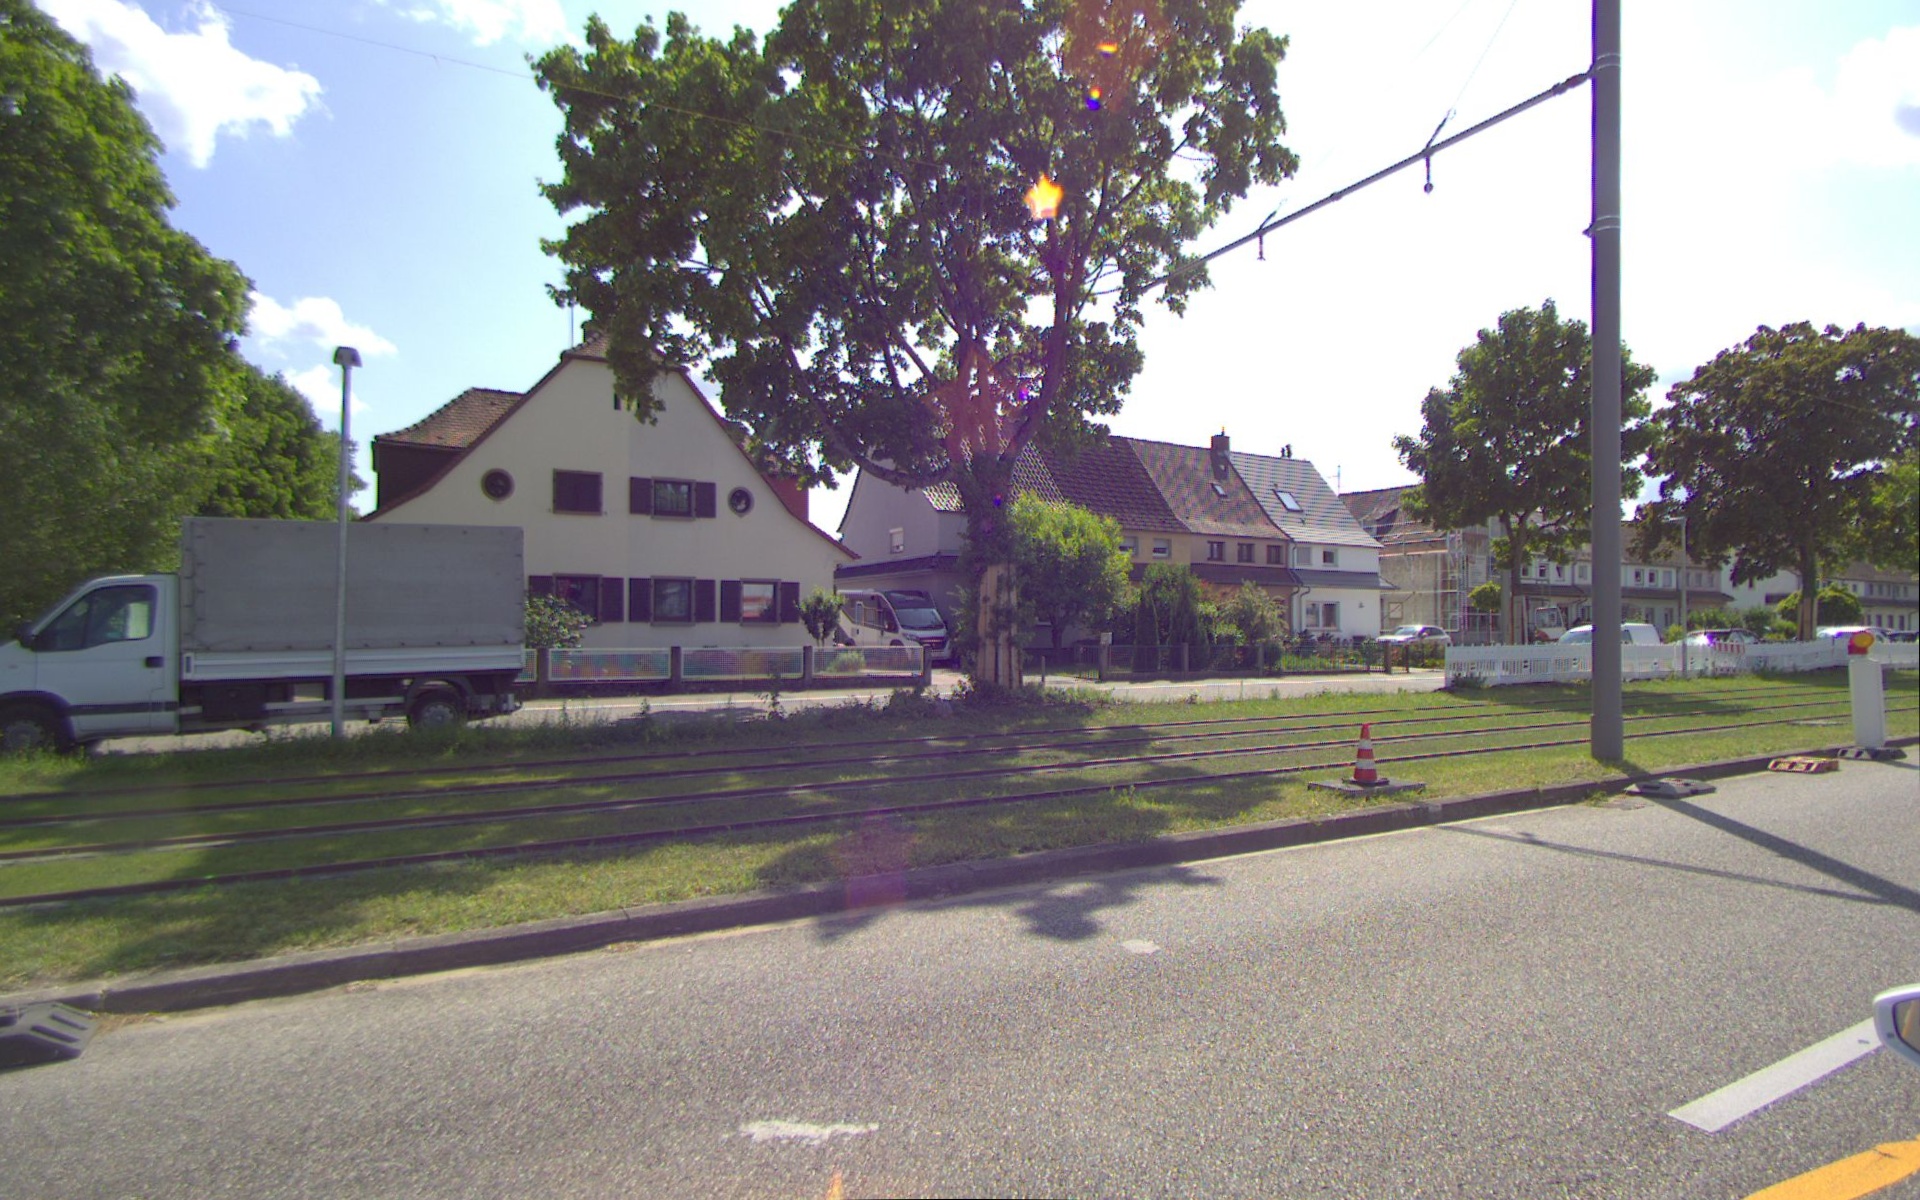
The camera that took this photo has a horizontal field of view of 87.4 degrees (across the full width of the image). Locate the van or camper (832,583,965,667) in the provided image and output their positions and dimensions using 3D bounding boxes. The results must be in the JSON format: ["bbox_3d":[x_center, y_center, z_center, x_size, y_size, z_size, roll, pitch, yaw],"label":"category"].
[{"bbox_3d":[-2.369,0.937,36.651,2.269,2.801,6.051,1,-2,-32],"label":"van or camper"}]

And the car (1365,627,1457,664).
[{"bbox_3d":[19.996,1.989,44.494,3.952,1.539,1.768,1,-2,-30],"label":"car"}]

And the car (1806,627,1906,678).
[{"bbox_3d":[35.368,2.029,39.638,4.079,1.892,1.768,1,-2,-30],"label":"car"}]

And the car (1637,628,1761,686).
[{"bbox_3d":[24.296,1.827,32.999,4.177,1.797,1.768,1,-2,-30],"label":"car"}]

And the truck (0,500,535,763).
[{"bbox_3d":[-8.829,0.403,12.970,5.906,2.817,2.255,1,-2,-31],"label":"truck"}]

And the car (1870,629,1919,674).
[{"bbox_3d":[40.652,2.162,42.695,4.079,1.829,1.768,1,-2,-30],"label":"car"}]

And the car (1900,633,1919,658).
[{"bbox_3d":[70.038,3.300,72.744,4.079,1.745,1.768,1,-2,-30],"label":"car"}]

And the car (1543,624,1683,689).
[{"bbox_3d":[19.561,1.643,30.051,4.312,1.845,1.768,1,-2,-30],"label":"car"}]
